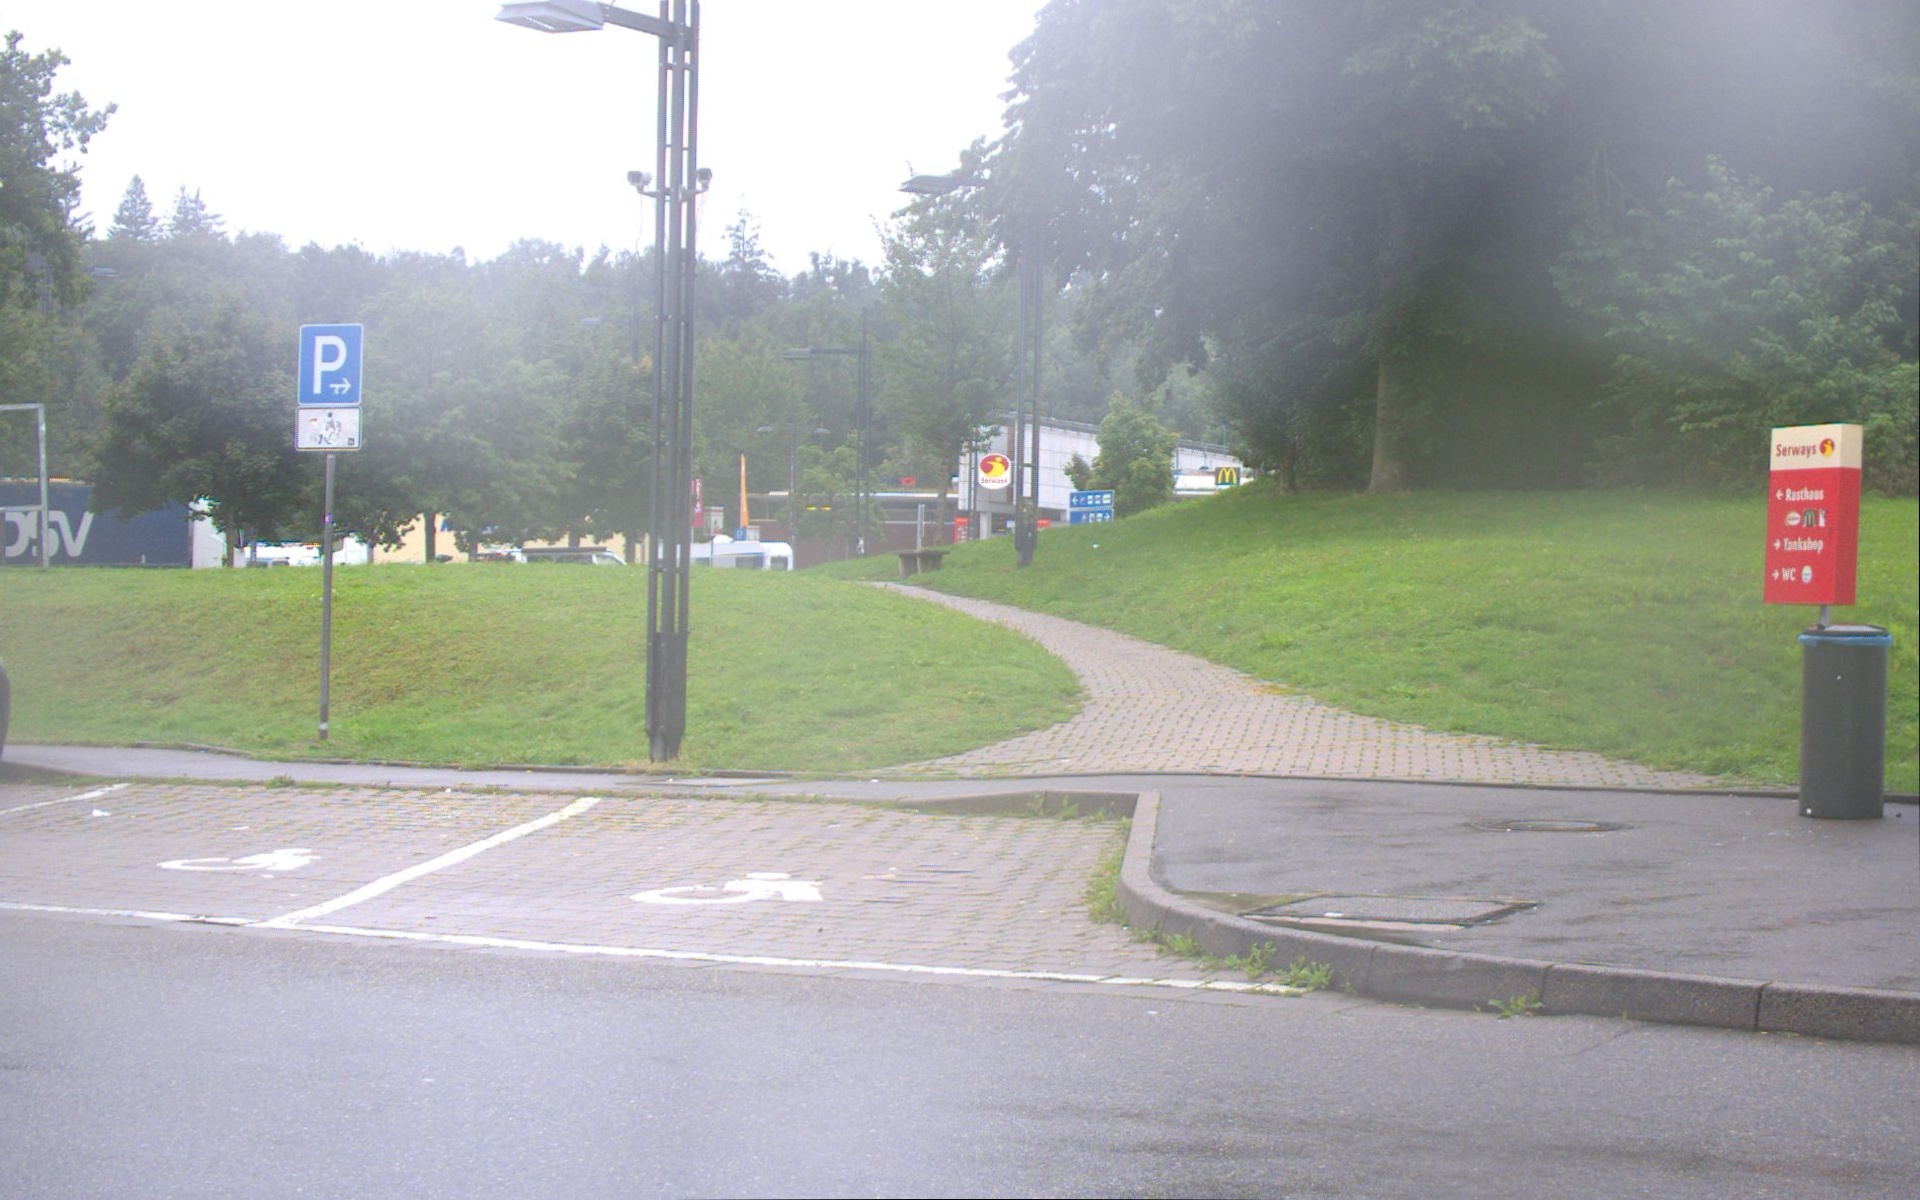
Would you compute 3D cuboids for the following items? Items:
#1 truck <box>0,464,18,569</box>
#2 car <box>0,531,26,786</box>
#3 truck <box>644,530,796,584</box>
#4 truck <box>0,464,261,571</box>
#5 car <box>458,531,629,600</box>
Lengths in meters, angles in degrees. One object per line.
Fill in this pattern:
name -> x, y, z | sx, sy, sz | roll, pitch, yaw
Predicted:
truck -> -28.606, -2.345, 94.648 | 2.189, 2.910, 5.380 | 1, 1, 24
car -> -7.800, 0.454, 21.482 | 2.018, 1.705, 4.341 | -1, 1, 12
truck -> -9.332, -1.664, 133.796 | 5.413, 2.007, 2.364 | 1, 1, 25
truck -> -25.468, -2.369, 101.618 | 2.188, 2.910, 13.082 | 1, 1, 24
car -> -11.066, -0.920, 91.469 | 4.124, 1.777, 1.844 | 0, 1, -37
